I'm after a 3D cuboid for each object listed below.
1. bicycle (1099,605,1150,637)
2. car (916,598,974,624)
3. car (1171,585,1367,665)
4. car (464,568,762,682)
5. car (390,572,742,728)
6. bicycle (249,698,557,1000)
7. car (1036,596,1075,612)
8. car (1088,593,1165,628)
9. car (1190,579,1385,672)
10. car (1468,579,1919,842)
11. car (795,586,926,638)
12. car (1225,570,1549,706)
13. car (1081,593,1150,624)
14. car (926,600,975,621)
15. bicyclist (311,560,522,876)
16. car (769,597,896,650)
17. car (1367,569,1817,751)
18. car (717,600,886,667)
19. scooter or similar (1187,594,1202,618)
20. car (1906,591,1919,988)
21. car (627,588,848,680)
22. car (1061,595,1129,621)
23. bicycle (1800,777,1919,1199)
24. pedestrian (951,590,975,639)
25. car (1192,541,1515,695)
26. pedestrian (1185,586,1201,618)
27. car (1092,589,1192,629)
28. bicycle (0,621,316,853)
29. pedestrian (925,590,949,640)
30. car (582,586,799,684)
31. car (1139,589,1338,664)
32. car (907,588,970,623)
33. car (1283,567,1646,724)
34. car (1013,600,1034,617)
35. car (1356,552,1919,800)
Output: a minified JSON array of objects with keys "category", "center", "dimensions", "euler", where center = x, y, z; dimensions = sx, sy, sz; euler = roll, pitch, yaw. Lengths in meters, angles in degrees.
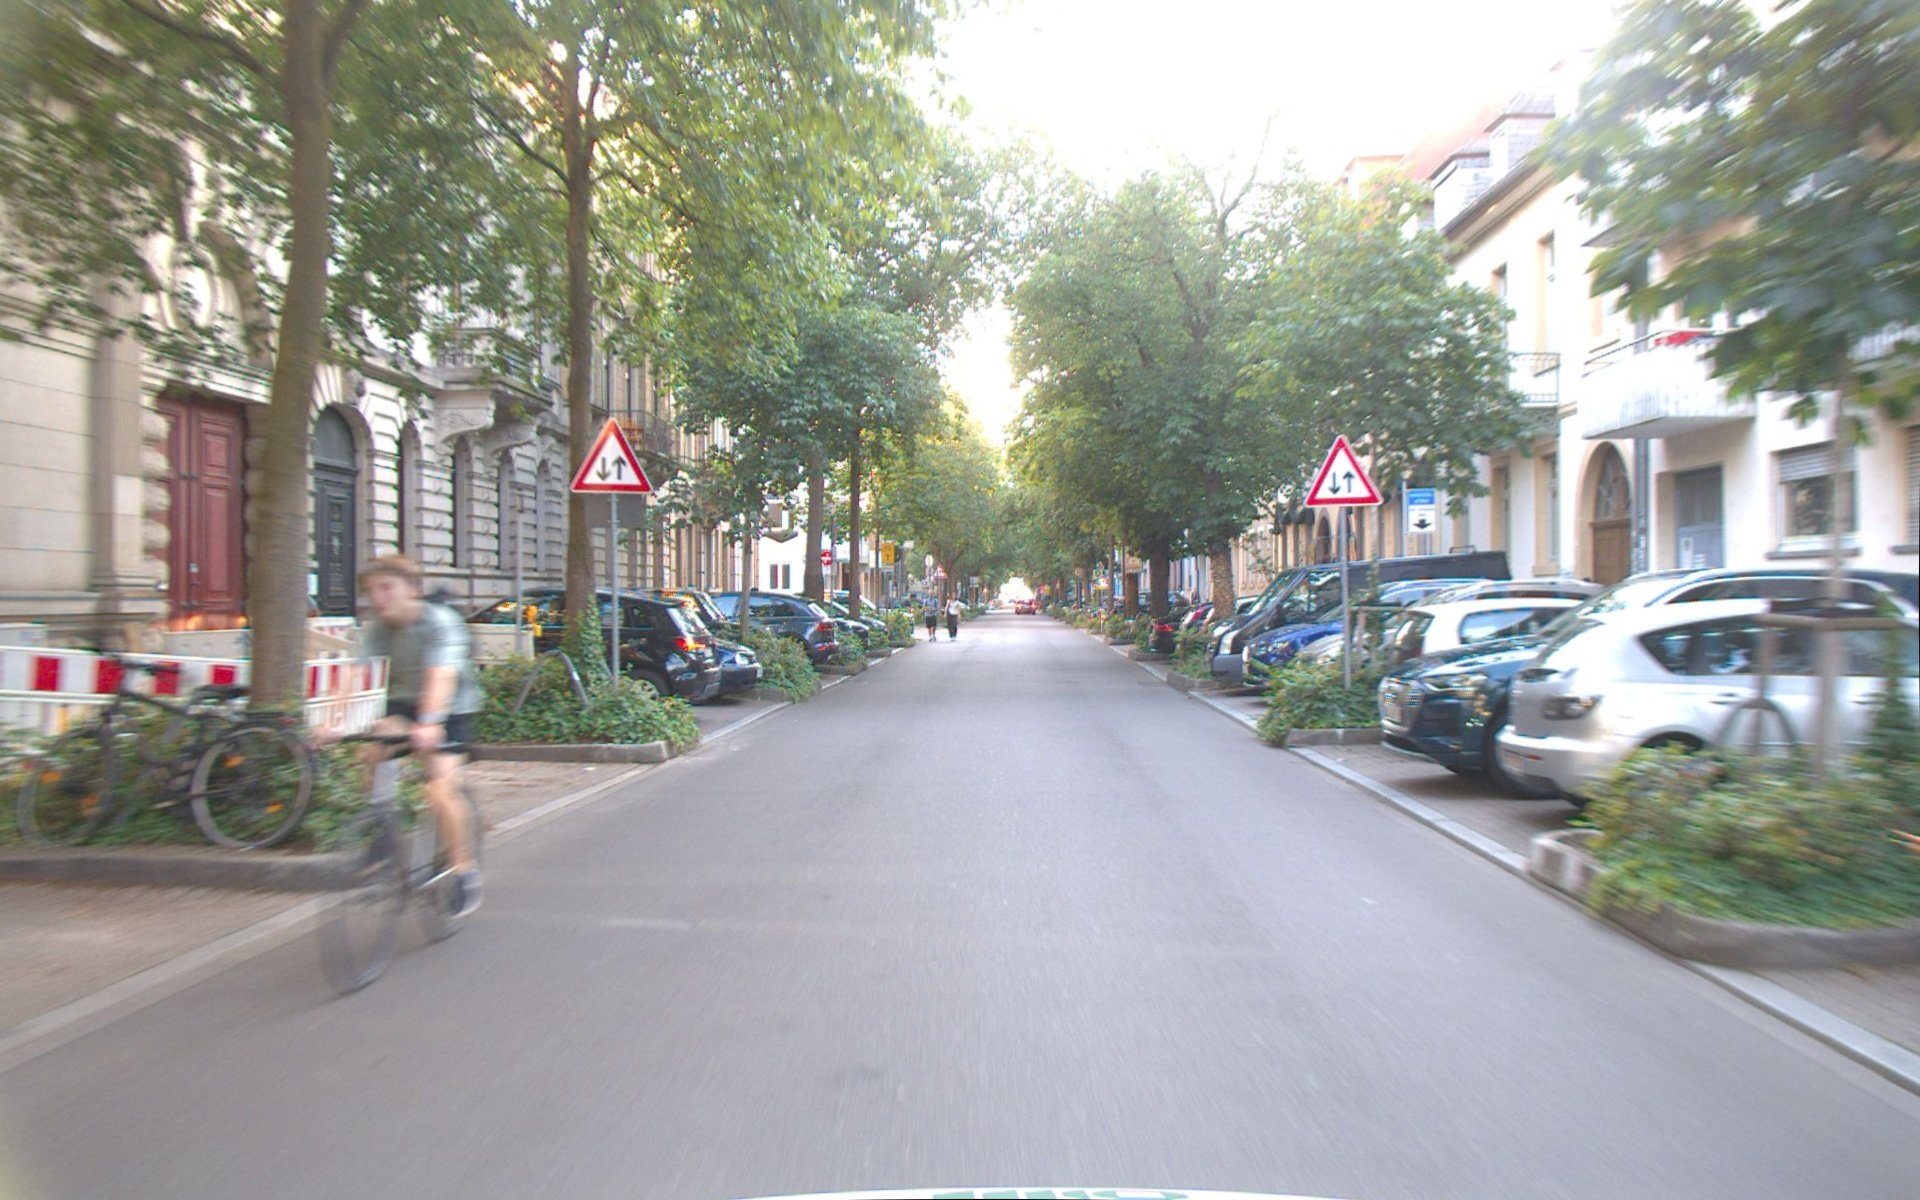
[{"category":"bicycle","center":[6.236,0.789,62.813],"dimensions":[1.803,1.155,0.743],"euler":[-2,0,-9]},{"category":"car","center":[-1.177,0.876,134.158],"dimensions":[4.585,1.886,1.963],"euler":[-2,-1,2]},{"category":"car","center":[6.761,0.534,36.479],"dimensions":[3.906,1.462,1.926],"euler":[-4,0,0]},{"category":"car","center":[-5.014,0.336,24.216],"dimensions":[3.883,1.411,1.765],"euler":[3,1,3]},{"category":"car","center":[-4.875,0.604,20.849],"dimensions":[3.883,1.624,1.781],"euler":[4,0,2]},{"category":"bicycle","center":[-2.308,0.989,7.091],"dimensions":[0.658,1.011,1.759],"euler":[-1,0,2]},{"category":"car","center":[10.610,0.453,184.329],"dimensions":[4.180,1.593,1.963],"euler":[-2,-1,2]},{"category":"car","center":[7.778,0.486,77.512],"dimensions":[3.412,1.478,1.899],"euler":[-2,0,0]},{"category":"car","center":[6.655,0.512,33.874],"dimensions":[3.604,1.606,1.715],"euler":[-4,0,2]},{"category":"car","center":[5.718,0.658,11.168],"dimensions":[3.989,1.454,1.819],"euler":[-4,0,4]},{"category":"car","center":[-3.434,0.406,57.531],"dimensions":[4.333,1.680,1.873],"euler":[1,1,3]},{"category":"car","center":[6.044,0.528,23.787],"dimensions":[4.071,1.606,1.970],"euler":[-4,0,0]},{"category":"car","center":[8.080,0.438,86.130],"dimensions":[3.412,1.478,1.899],"euler":[-2,0,0]},{"category":"car","center":[-0.796,0.909,141.876],"dimensions":[4.116,1.664,1.963],"euler":[-2,-1,2]},{"category":"bicyclist","center":[-2.311,0.482,7.094],"dimensions":[0.658,1.286,0.648],"euler":[-1,0,2]},{"category":"car","center":[-3.835,0.698,50.136],"dimensions":[3.616,1.484,1.873],"euler":[1,1,1]},{"category":"car","center":[6.110,0.567,16.305],"dimensions":[3.715,1.448,1.698],"euler":[-4,0,1]},{"category":"car","center":[-3.809,0.812,40.291],"dimensions":[3.863,1.559,1.908],"euler":[1,0,1]},{"category":"scooter or similar","center":[11.500,0.303,81.194],"dimensions":[0.641,1.173,0.831],"euler":[-1,0,3]},{"category":"car","center":[5.758,0.662,5.443],"dimensions":[4.226,1.522,1.794],"euler":[-2,0,1]},{"category":"car","center":[-4.417,0.657,33.332],"dimensions":[4.114,1.701,1.908],"euler":[1,1,2]},{"category":"car","center":[9.215,0.531,112.923],"dimensions":[4.618,1.740,1.951],"euler":[0,0,3]},{"category":"bicycle","center":[2.599,1.004,3.467],"dimensions":[0.658,1.048,1.977],"euler":[1,0,0]},{"category":"pedestrian","center":[0.113,0.519,58.758],"dimensions":[0.778,1.700,0.831],"euler":[-1,0,1]},{"category":"car","center":[6.179,0.277,26.413],"dimensions":[4.593,2.046,2.038],"euler":[-4,0,1]},{"category":"pedestrian","center":[11.524,0.122,81.845],"dimensions":[0.641,1.563,0.831],"euler":[-1,0,3]},{"category":"car","center":[8.159,0.399,74.387],"dimensions":[4.333,1.685,1.900],"euler":[-1,0,3]},{"category":"bicycle","center":[-4.594,0.749,9.348],"dimensions":[1.733,1.254,0.500],"euler":[0,-1,7]},{"category":"pedestrian","center":[-0.806,0.527,58.874],"dimensions":[0.778,1.767,0.831],"euler":[-1,0,1]},{"category":"car","center":[-4.983,0.626,30.920],"dimensions":[3.722,1.701,1.714],"euler":[1,1,1]},{"category":"car","center":[6.505,0.612,39.007],"dimensions":[4.311,1.418,1.885],"euler":[-4,0,0]},{"category":"car","center":[-1.565,0.409,121.728],"dimensions":[4.585,2.521,2.000],"euler":[0,-1,2]},{"category":"car","center":[6.173,0.539,20.572],"dimensions":[3.884,1.606,1.851],"euler":[-4,0,1]},{"category":"car","center":[6.167,0.829,160.908],"dimensions":[1.916,1.593,4.283],"euler":[-2,-1,2]},{"category":"car","center":[5.728,0.556,13.429],"dimensions":[4.496,1.606,1.944],"euler":[-4,0,1]}]
